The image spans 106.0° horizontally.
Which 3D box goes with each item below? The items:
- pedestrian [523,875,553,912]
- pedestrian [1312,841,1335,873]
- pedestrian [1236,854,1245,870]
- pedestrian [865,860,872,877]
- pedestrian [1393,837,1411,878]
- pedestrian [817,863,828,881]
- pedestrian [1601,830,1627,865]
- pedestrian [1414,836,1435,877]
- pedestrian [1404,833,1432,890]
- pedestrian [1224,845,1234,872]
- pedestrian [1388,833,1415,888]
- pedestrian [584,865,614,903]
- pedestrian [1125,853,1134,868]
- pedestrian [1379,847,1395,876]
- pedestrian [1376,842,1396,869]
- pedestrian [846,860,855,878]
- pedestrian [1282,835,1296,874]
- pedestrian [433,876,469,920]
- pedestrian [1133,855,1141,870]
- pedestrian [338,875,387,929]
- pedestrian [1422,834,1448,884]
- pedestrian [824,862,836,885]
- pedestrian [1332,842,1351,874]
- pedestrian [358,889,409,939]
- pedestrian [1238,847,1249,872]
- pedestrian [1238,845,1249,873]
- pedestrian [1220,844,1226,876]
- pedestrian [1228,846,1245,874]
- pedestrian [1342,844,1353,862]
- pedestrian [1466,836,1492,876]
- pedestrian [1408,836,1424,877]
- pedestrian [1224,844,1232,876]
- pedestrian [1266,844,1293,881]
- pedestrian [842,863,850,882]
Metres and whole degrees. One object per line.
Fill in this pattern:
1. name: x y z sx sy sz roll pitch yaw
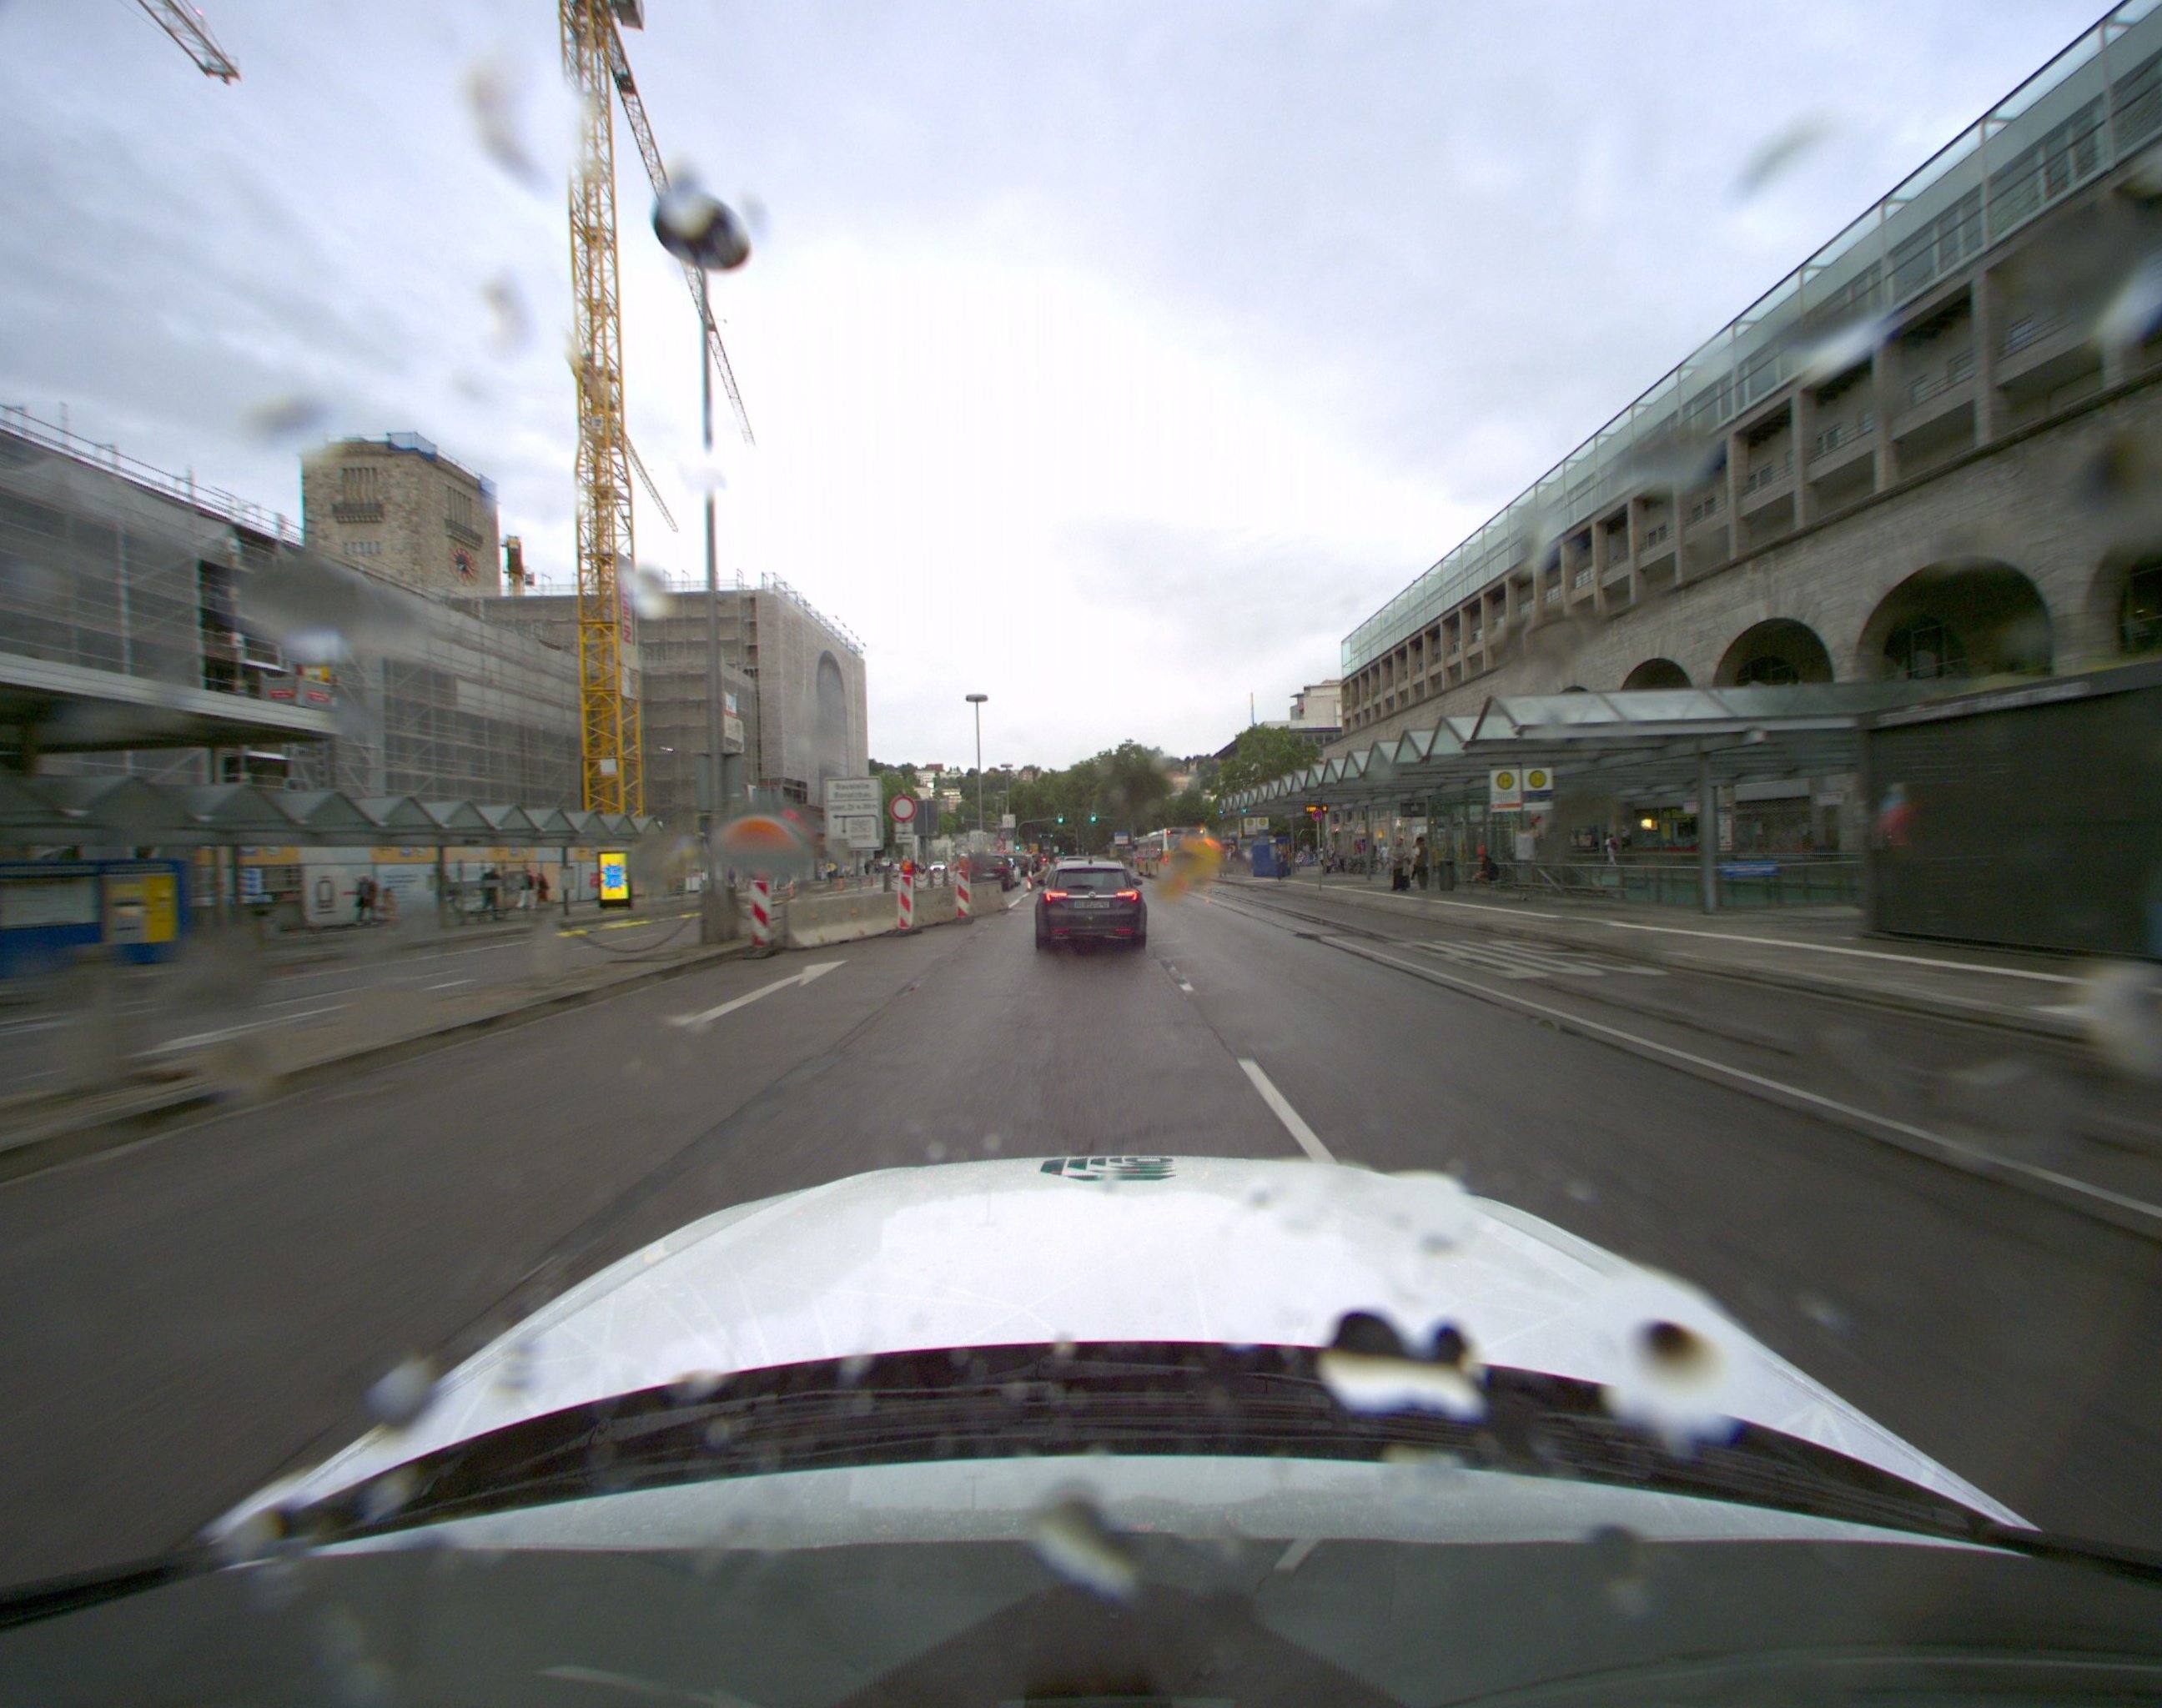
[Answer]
1. pedestrian: -23.837 1.730 35.763 0.801 1.547 0.700 -1 0 -6
2. pedestrian: 14.118 0.198 47.469 0.791 1.805 0.983 -2 -1 -29
3. pedestrian: 12.529 0.642 63.994 0.512 1.232 0.770 -2 -1 2
4. pedestrian: -23.511 1.633 89.918 0.534 1.841 0.771 -1 0 -2
5. pedestrian: 14.818 0.159 37.581 0.603 1.860 0.626 -1 0 8
6. pedestrian: -23.650 1.637 74.439 0.674 1.613 0.839 -1 0 2
7. pedestrian: 26.644 -0.334 40.733 0.757 1.710 0.752 -1 0 0
8. pedestrian: 15.469 0.099 36.702 0.609 1.831 0.587 -1 -1 -30
9. pedestrian: 11.057 0.237 26.699 0.625 1.836 0.642 -1 0 2
10. pedestrian: 10.149 0.306 55.850 0.563 1.836 0.570 -1 0 2
11. pedestrian: 10.930 0.209 27.804 0.673 1.836 0.574 -1 0 1
12. pedestrian: -23.874 1.486 40.332 0.855 1.841 1.044 0 -1 -1
13. pedestrian: 6.039 0.857 101.924 0.788 1.838 0.945 -2 -1 -16
14. pedestrian: 14.596 0.340 38.873 0.551 1.377 0.507 -1 0 -6
15. pedestrian: 19.768 0.095 52.765 0.975 1.695 0.863 -2 -1 40
16. pedestrian: -23.648 1.547 83.596 0.772 1.841 0.831 -1 0 -15
17. pedestrian: 11.906 0.024 46.645 0.588 2.215 0.587 -1 0 1
18. pedestrian: -23.503 1.637 30.391 0.800 1.608 0.701 -1 0 -2
19. pedestrian: 6.818 1.085 99.105 0.747 1.805 0.705 -2 -1 -17
20. pedestrian: -23.817 1.583 27.009 0.875 1.700 0.836 -1 0 -2
21. pedestrian: 13.430 0.191 30.900 0.745 1.836 0.765 -1 0 15
22. pedestrian: -20.454 1.611 66.375 0.876 1.841 0.834 -1 0 -15
23. pedestrian: 14.138 0.211 44.193 0.745 1.695 0.902 -1 0 2
24. pedestrian: -19.344 1.649 22.591 0.697 1.326 0.805 -1 0 -2
25. pedestrian: 11.109 0.378 55.775 0.607 1.723 0.592 -1 0 3
26. pedestrian: 10.992 0.335 55.107 0.689 1.836 0.558 -1 0 15
27. pedestrian: 8.326 0.345 47.713 0.242 1.836 0.512 -1 0 3
28. pedestrian: 10.337 0.390 54.220 0.977 1.836 0.839 -1 0 15
29. pedestrian: 27.049 -0.055 82.677 0.729 1.792 0.788 -2 -1 -1
30. pedestrian: 18.449 0.087 37.742 0.764 1.831 0.745 -1 0 -30
31. pedestrian: 15.509 0.130 37.692 0.590 1.874 0.594 -2 0 27
32. pedestrian: 8.651 0.341 47.930 0.345 1.836 0.533 -1 0 3
33. pedestrian: 9.271 0.399 38.111 0.762 1.690 0.992 -1 0 -21
34. pedestrian: -21.505 1.688 74.480 0.682 1.685 0.834 -1 0 -15
